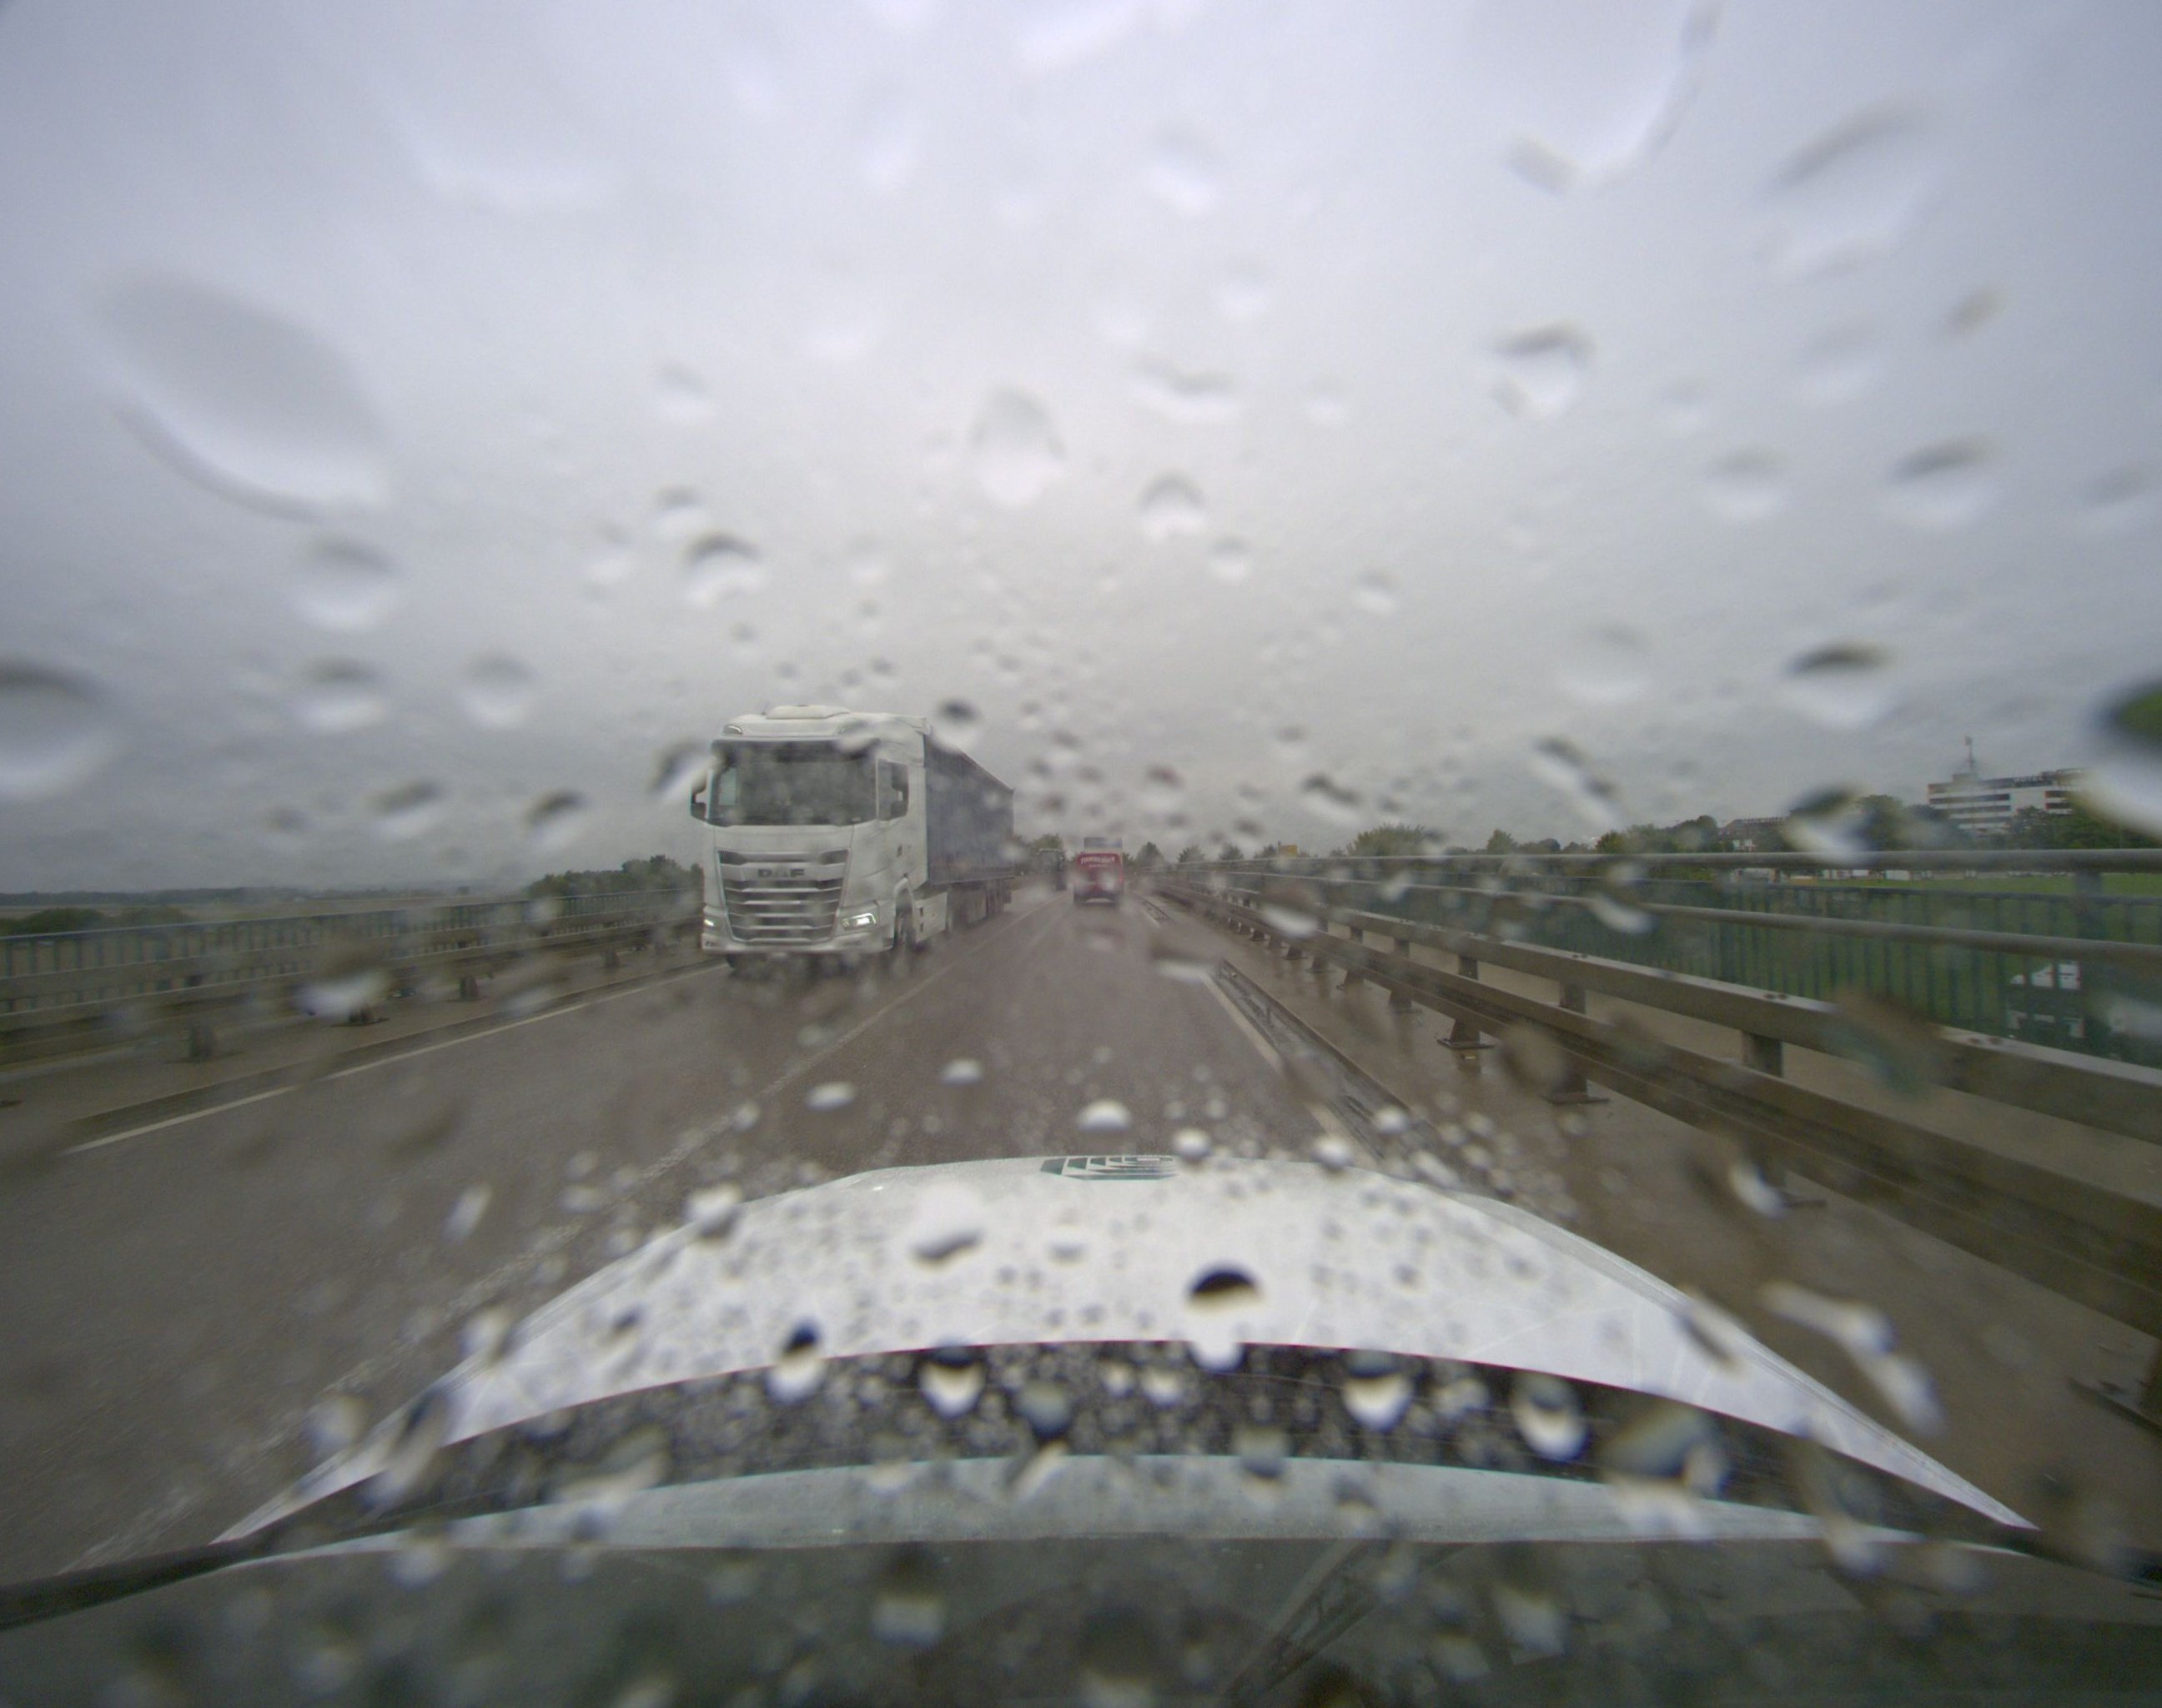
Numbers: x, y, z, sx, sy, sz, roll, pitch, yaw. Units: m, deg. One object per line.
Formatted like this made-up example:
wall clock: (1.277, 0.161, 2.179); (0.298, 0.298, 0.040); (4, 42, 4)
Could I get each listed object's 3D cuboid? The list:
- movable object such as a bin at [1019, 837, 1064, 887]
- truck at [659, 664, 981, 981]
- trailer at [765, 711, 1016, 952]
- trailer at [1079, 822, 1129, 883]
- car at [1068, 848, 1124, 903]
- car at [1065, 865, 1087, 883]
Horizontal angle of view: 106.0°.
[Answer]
movable object such as a bin: (-2.850, 0.572, 59.698); (2.737, 3.445, 4.647); (-2, -1, 3)
truck: (-3.850, -0.373, 14.715); (2.808, 3.970, 8.764); (-1, -1, 1)
trailer: (-3.721, -0.319, 20.440); (2.808, 3.970, 13.737); (-1, -1, 1)
trailer: (1.632, -0.013, 57.773); (3.189, 3.922, 8.742); (2, -1, 2)
car: (0.557, 0.758, 30.781); (1.987, 1.925, 4.144); (0, 0, 1)
car: (-0.496, 2.096, 87.469); (2.057, 1.837, 4.934); (-2, -1, 3)
